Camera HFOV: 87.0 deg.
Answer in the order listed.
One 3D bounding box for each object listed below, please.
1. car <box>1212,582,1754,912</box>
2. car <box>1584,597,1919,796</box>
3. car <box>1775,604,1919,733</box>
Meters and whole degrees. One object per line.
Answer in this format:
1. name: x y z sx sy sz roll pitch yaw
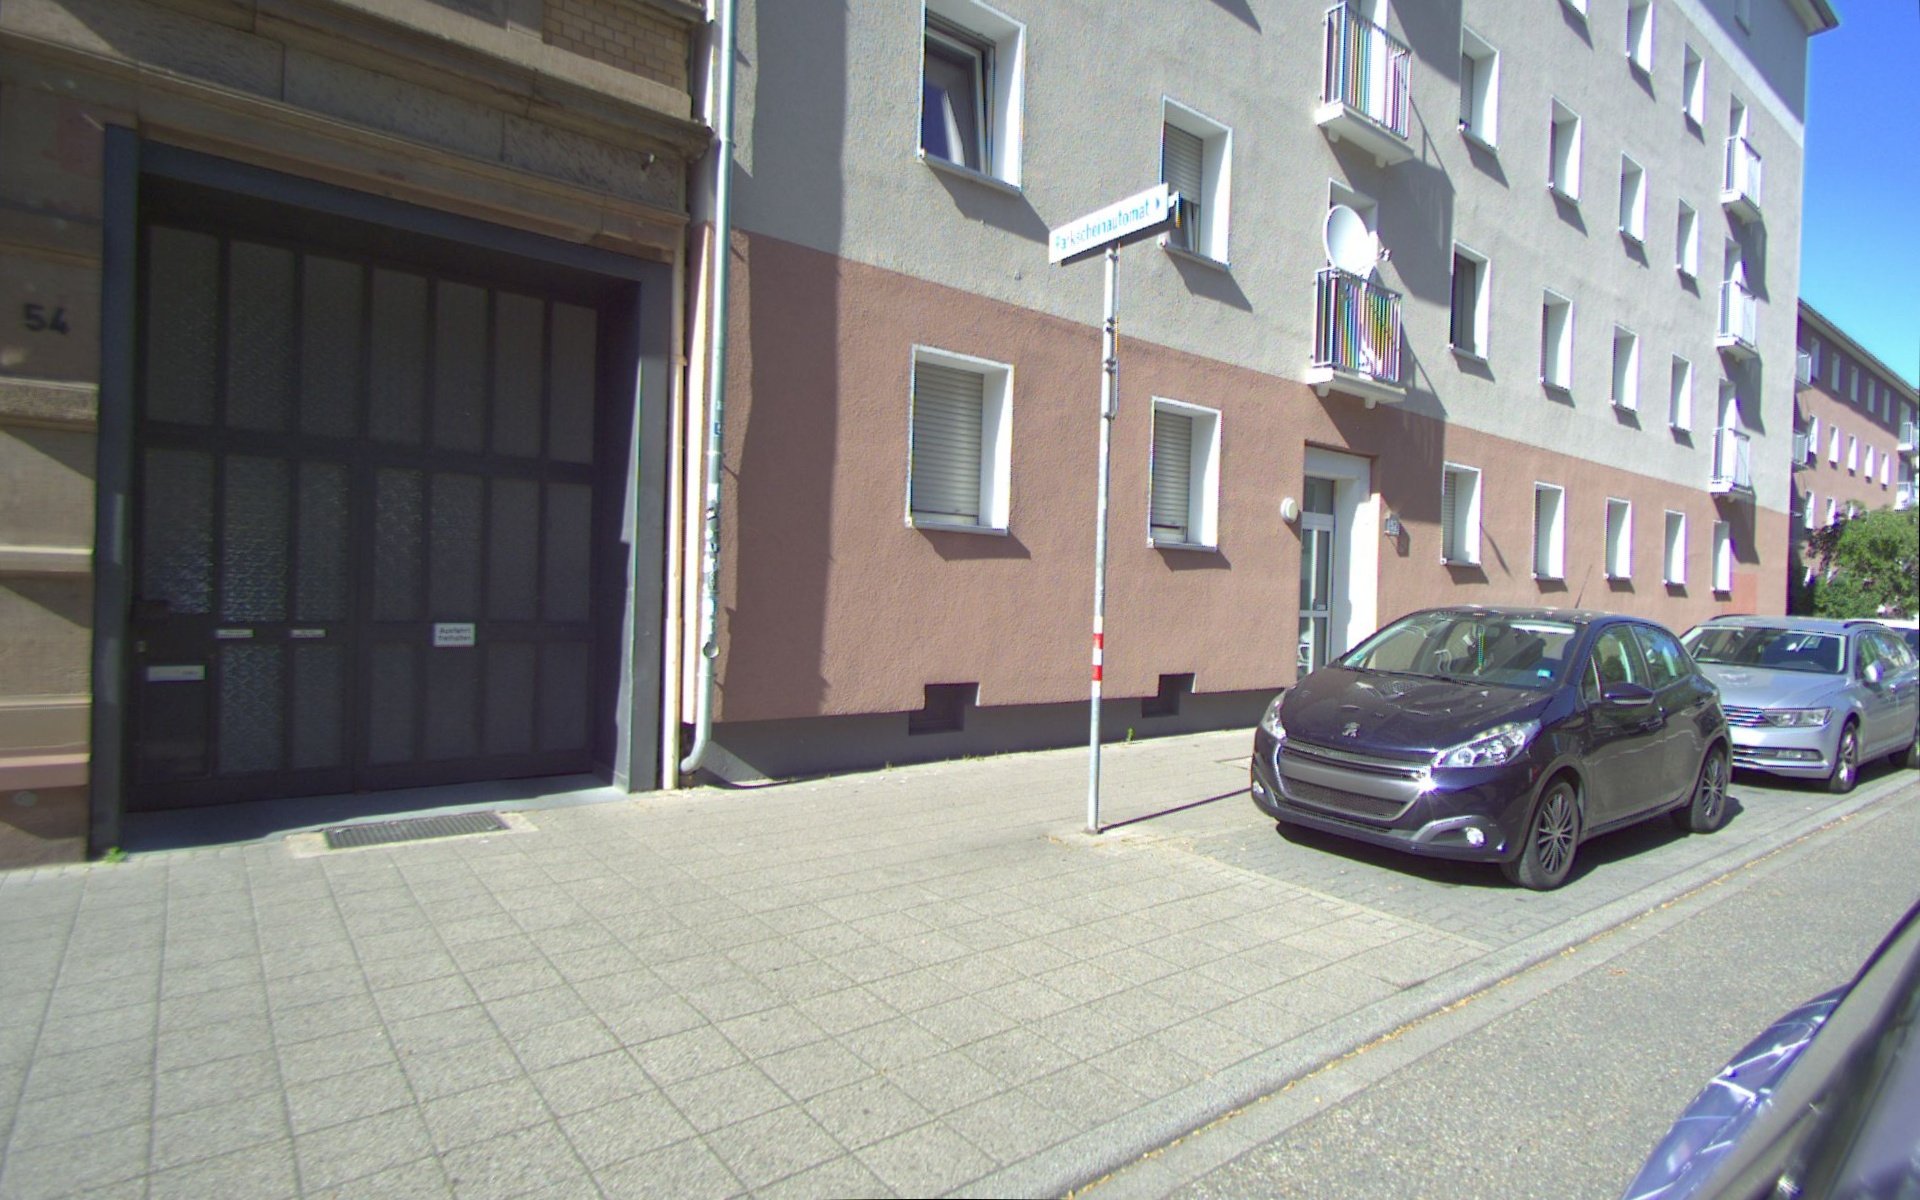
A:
1. car: 3.478 0.693 6.499 3.642 1.499 1.714 1 1 -38
2. car: 8.146 0.785 9.973 4.431 1.478 1.792 1 2 -36
3. car: 12.953 0.884 14.070 3.726 1.504 1.736 1 3 -39
